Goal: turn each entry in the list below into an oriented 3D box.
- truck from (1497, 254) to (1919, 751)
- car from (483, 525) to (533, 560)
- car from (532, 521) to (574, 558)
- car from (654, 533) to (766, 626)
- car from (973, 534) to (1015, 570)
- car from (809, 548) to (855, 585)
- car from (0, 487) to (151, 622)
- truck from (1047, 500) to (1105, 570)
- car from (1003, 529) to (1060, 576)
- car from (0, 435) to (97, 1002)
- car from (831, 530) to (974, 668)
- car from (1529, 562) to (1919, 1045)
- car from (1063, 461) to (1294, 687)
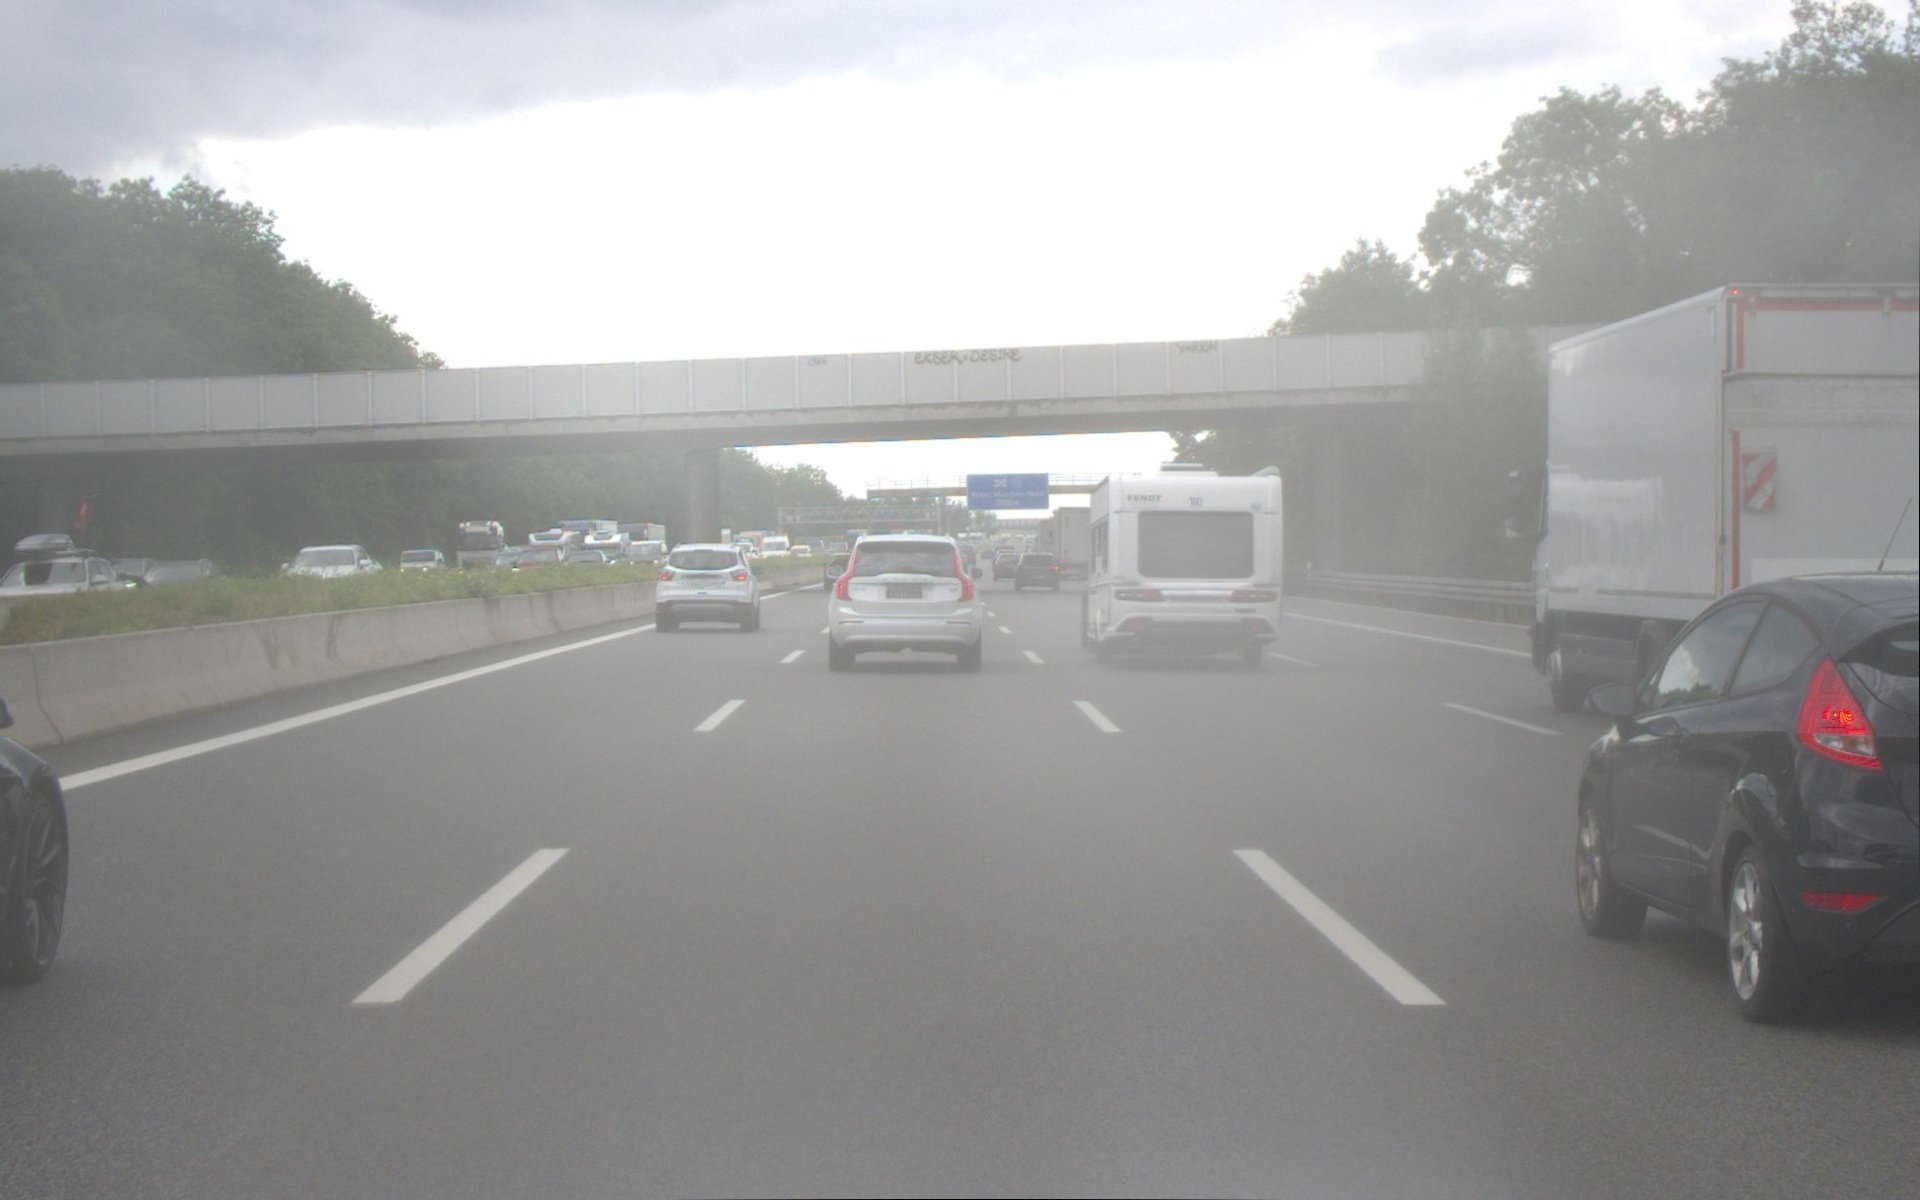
[{"bbox_3d":[7.116,-0.823,30.485,3.133,3.697,9.848,0,1,0],"label":"truck"},{"bbox_3d":[-25.486,-3.253,193.891,2.220,1.945,4.829,0,1,-1],"label":"car"},{"bbox_3d":[-22.381,-3.344,189.015,1.993,2.007,4.001,0,1,-2],"label":"car"},{"bbox_3d":[-4.774,-0.430,66.281,1.815,1.684,4.852,0,2,0],"label":"car"},{"bbox_3d":[1.739,-2.504,177.969,2.043,1.817,4.904,0,1,-1],"label":"car"},{"bbox_3d":[-5.237,-1.397,140.855,1.781,1.476,4.353,0,1,-1],"label":"car"},{"bbox_3d":[-15.276,-0.794,58.132,1.993,2.174,5.290,0,1,-1],"label":"car"},{"bbox_3d":[6.420,-3.626,190.784,2.906,3.797,7.274,0,1,-1],"label":"truck"},{"bbox_3d":[2.782,-1.875,134.812,2.043,1.817,4.904,0,1,-1],"label":"car"},{"bbox_3d":[-4.040,0.402,9.740,1.993,1.814,5.163,0,1,-1],"label":"car"},{"bbox_3d":[-0.730,-0.051,44.941,1.781,1.710,4.353,0,1,0],"label":"car"},{"bbox_3d":[3.376,0.586,12.421,1.885,1.402,4.283,0,1,-1],"label":"car"},{"bbox_3d":[2.908,-0.413,47.768,2.567,2.885,7.534,0,1,-1],"label":"car"}]
